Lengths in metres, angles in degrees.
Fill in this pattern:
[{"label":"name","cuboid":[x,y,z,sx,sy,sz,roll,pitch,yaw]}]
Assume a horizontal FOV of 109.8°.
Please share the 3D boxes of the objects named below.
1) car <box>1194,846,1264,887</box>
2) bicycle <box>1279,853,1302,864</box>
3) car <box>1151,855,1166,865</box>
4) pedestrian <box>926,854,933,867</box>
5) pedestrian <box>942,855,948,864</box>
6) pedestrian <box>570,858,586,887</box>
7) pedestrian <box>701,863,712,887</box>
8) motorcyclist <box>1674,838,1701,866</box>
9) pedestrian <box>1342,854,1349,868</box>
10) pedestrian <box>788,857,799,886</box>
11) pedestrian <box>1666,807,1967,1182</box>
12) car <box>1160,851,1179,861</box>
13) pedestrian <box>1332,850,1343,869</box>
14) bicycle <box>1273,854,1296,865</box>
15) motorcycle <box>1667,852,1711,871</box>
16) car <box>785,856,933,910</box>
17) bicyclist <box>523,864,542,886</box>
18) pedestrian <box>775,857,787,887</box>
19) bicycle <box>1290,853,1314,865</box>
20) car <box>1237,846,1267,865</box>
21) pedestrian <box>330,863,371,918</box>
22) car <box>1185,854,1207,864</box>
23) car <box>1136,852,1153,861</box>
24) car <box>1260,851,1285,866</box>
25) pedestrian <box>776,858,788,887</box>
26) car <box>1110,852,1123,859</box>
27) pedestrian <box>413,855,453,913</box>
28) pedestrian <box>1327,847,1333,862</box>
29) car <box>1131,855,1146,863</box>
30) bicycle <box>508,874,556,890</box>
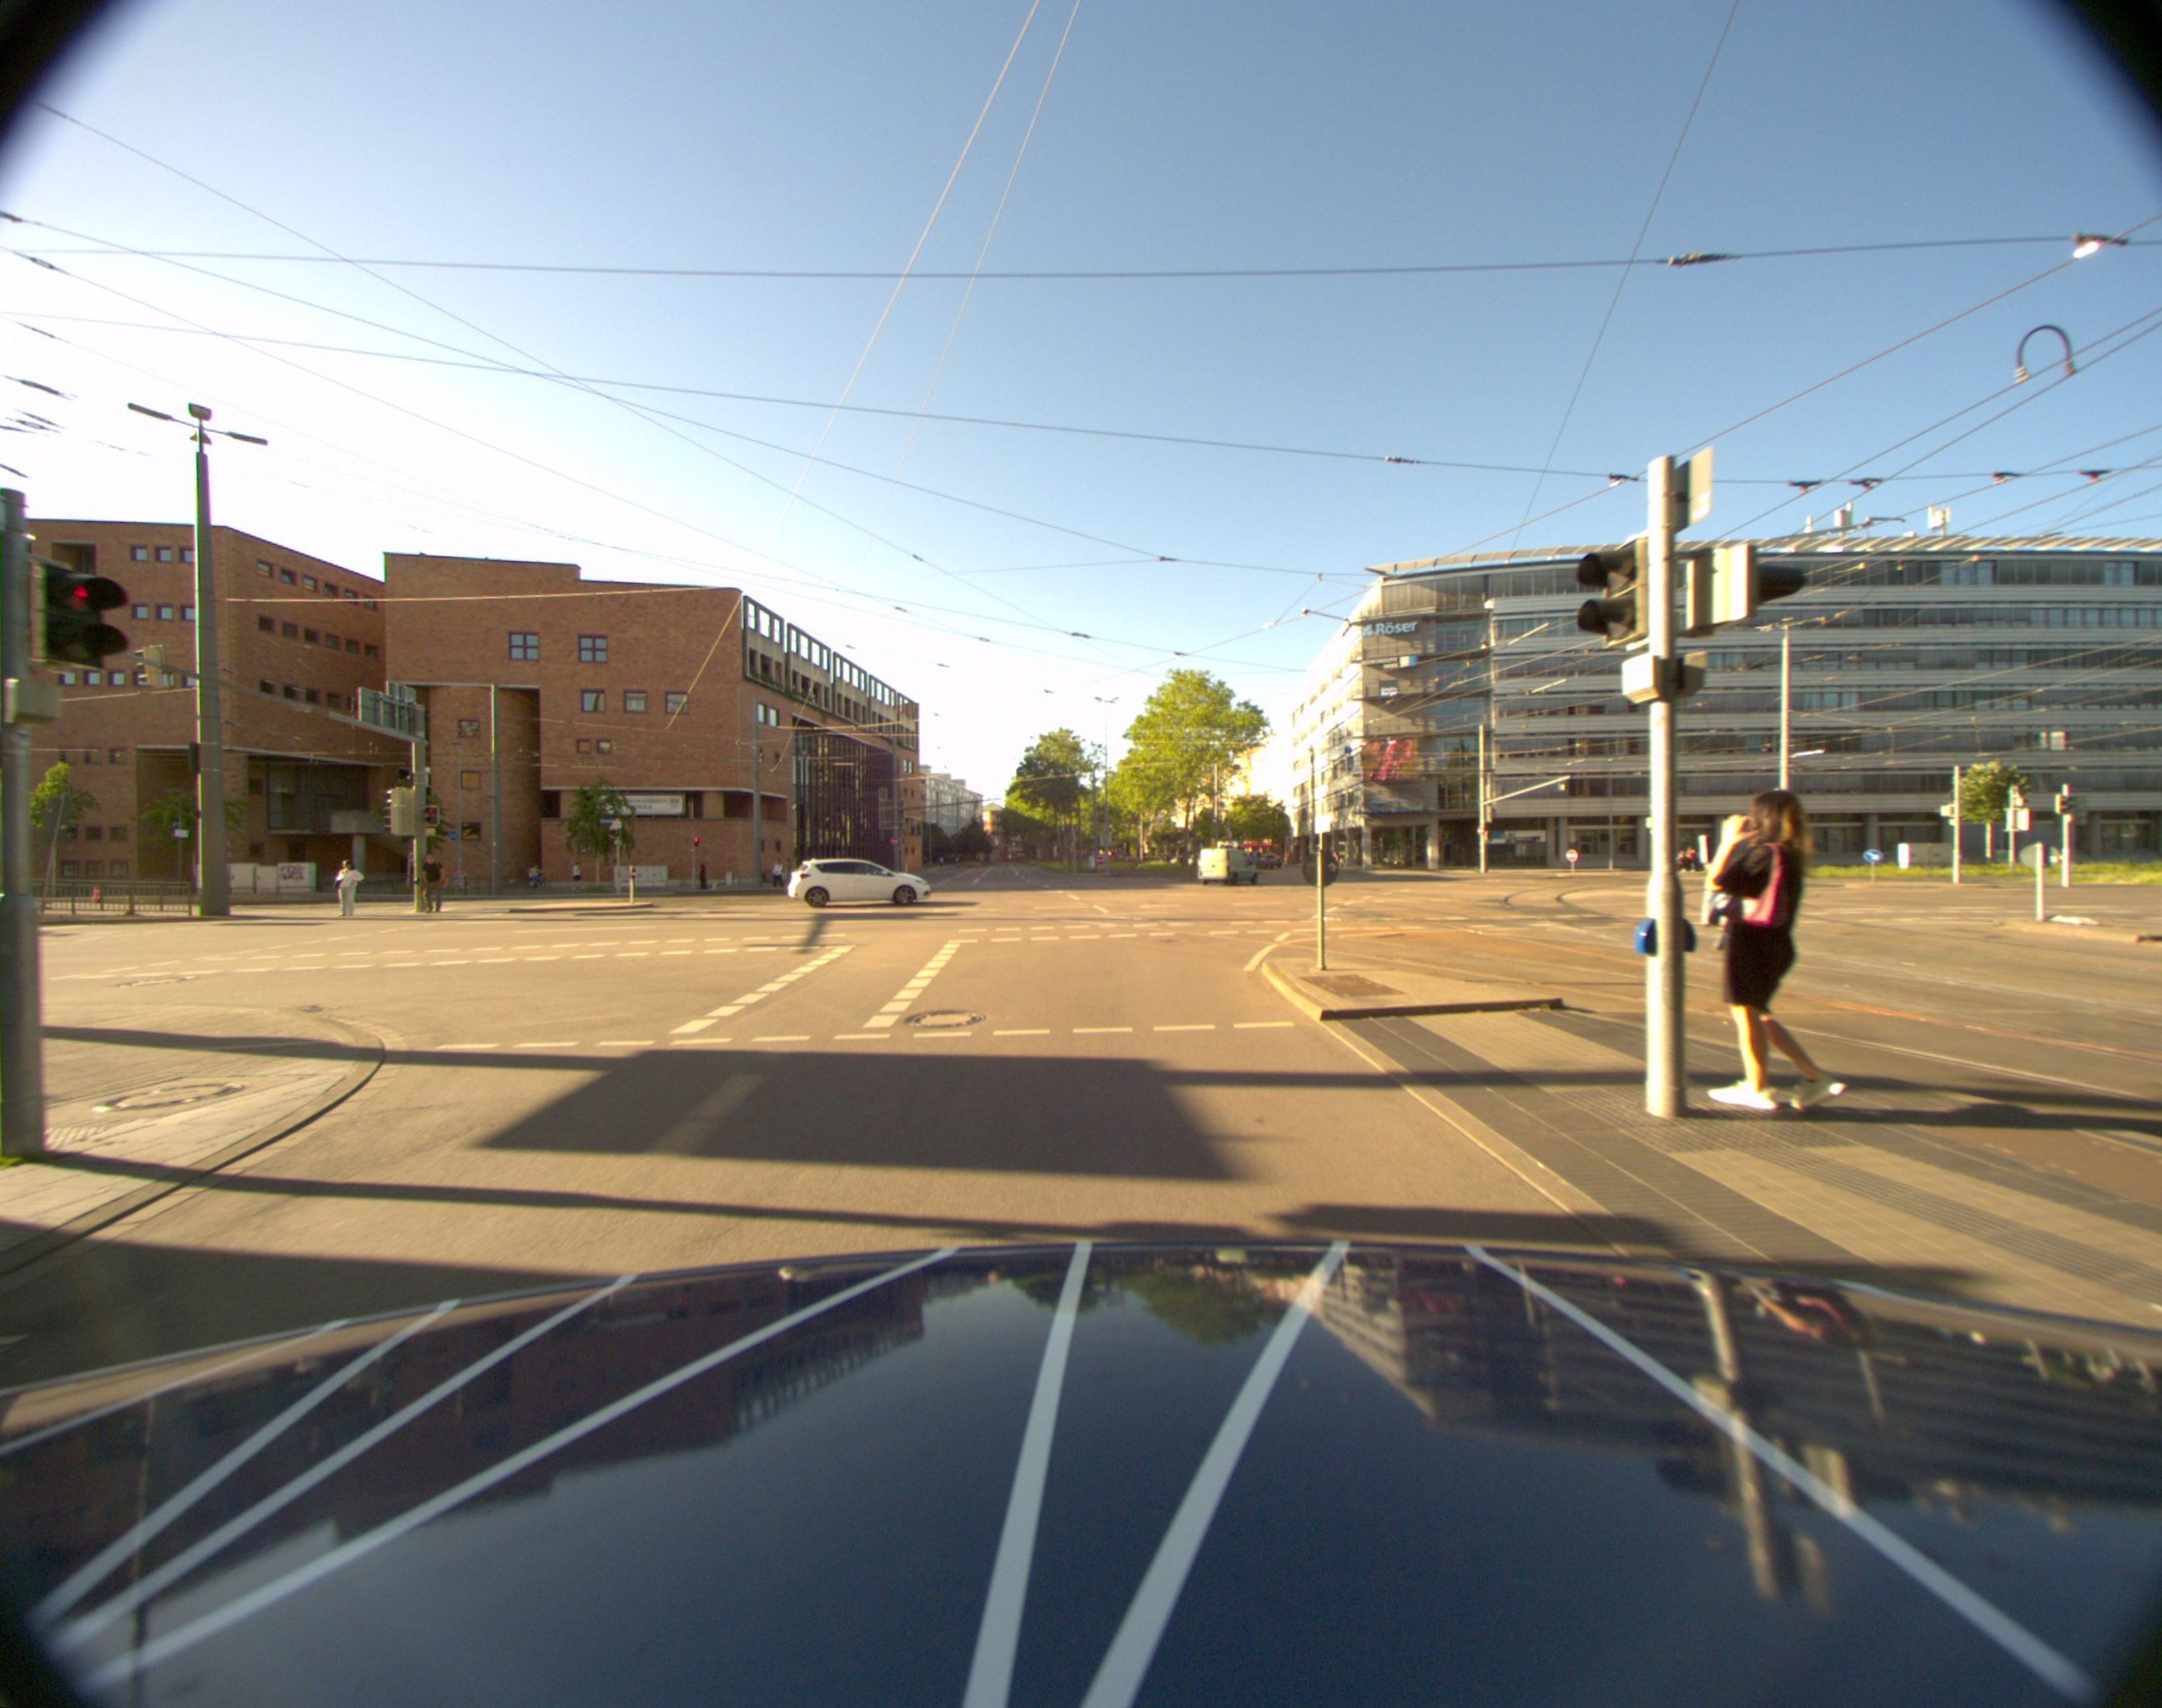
[{"label":"car","cuboid":[7.446,0.551,37.969,1.839,1.826,4.115,1,2,36]},{"label":"bicycle","cuboid":[22.657,0.507,82.144,2.396,1.206,0.774,0,0,-14]},{"label":"car","cuboid":[11.302,0.854,110.790,1.665,1.380,3.535,1,0,-4]},{"label":"pedestrian","cuboid":[-18.640,0.742,93.422,0.813,1.596,0.686,-1,1,-19]},{"label":"pedestrian","cuboid":[-20.838,0.821,116.458,0.812,1.376,0.687,0,1,-5]},{"label":"pedestrian","cuboid":[-31.286,1.127,47.236,0.573,1.776,0.549,2,0,-4]},{"label":"pedestrian","cuboid":[-22.667,1.256,46.004,0.574,1.468,0.548,0,1,-25]},{"label":"motorcyclist","cuboid":[40.602,-0.146,50.871,1.111,1.847,0.822,-1,1,1]},{"label":"pedestrian","cuboid":[22.920,0.639,65.803,0.443,1.203,0.462,0,0,0]},{"label":"pedestrian","cuboid":[-17.907,1.058,47.313,0.549,1.776,0.572,-1,1,-15]},{"label":"pedestrian","cuboid":[3.632,0.623,3.849,0.715,1.670,0.832,1,1,10]},{"label":"car","cuboid":[14.586,0.334,125.503,1.868,1.466,3.973,-1,0,-12]},{"label":"pedestrian","cuboid":[22.336,0.457,66.180,0.660,1.630,0.793,0,0,0]},{"label":"bicycle","cuboid":[22.810,0.651,85.216,2.396,1.206,0.774,0,0,-14]},{"label":"motorcycle","cuboid":[40.689,0.509,50.891,2.253,1.214,0.822,-1,1,1]},{"label":"car","cuboid":[-6.993,0.856,23.956,4.303,1.440,1.841,-1,2,-22]},{"label":"bicyclist","cuboid":[-33.178,1.267,45.984,0.652,1.331,0.647,-1,1,-6]},{"label":"pedestrian","cuboid":[-18.189,1.103,46.066,0.549,1.776,0.572,-1,1,-15]},{"label":"bicycle","cuboid":[23.433,0.540,80.701,2.391,1.206,0.776,0,0,7]},{"label":"car","cuboid":[18.884,0.162,84.078,1.867,2.004,4.455,-1,0,-7]},{"label":"pedestrian","cuboid":[-21.379,1.043,22.248,0.647,1.568,0.581,-1,1,-20]},{"label":"car","cuboid":[16.392,0.697,108.488,1.868,1.466,3.973,-1,0,-12]},{"label":"car","cuboid":[10.133,0.374,121.390,1.867,1.466,3.975,-1,0,-6]},{"label":"car","cuboid":[19.836,0.458,78.768,1.865,1.466,3.979,-1,0,5]},{"label":"pedestrian","cuboid":[-18.647,1.139,47.382,0.549,1.776,0.572,-1,1,-15]},{"label":"car","cuboid":[6.712,0.300,145.649,1.700,1.466,3.978,-1,0,-9]},{"label":"pedestrian","cuboid":[-19.687,0.887,23.084,0.594,1.717,0.723,-1,1,-6]},{"label":"pedestrian","cuboid":[29.356,0.035,89.448,0.586,1.723,0.794,-1,-1,12]},{"label":"car","cuboid":[9.972,0.846,132.360,1.700,1.431,4.016,-1,-1,-8]},{"label":"bicycle","cuboid":[-33.210,1.673,45.985,2.345,0.899,0.650,-1,0,-6]}]
